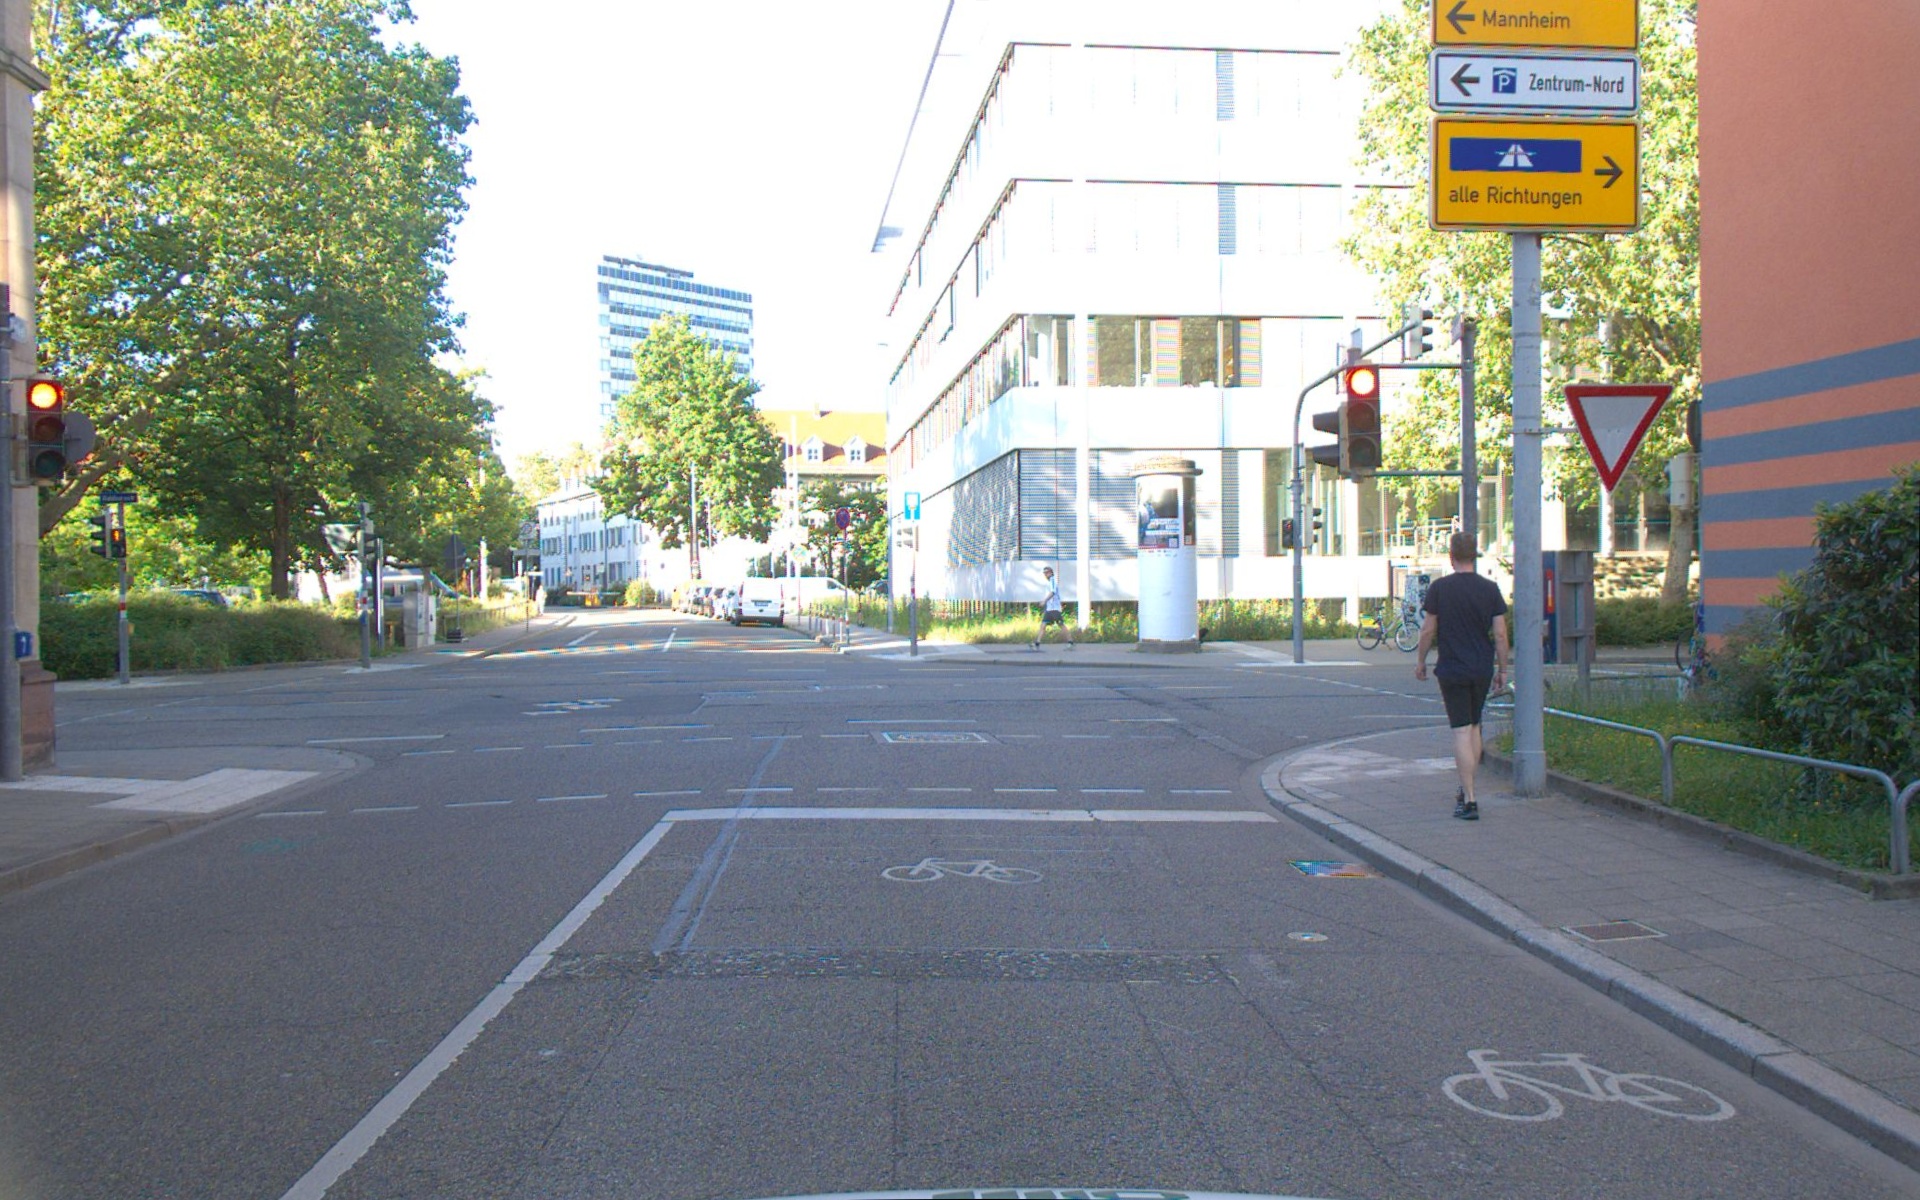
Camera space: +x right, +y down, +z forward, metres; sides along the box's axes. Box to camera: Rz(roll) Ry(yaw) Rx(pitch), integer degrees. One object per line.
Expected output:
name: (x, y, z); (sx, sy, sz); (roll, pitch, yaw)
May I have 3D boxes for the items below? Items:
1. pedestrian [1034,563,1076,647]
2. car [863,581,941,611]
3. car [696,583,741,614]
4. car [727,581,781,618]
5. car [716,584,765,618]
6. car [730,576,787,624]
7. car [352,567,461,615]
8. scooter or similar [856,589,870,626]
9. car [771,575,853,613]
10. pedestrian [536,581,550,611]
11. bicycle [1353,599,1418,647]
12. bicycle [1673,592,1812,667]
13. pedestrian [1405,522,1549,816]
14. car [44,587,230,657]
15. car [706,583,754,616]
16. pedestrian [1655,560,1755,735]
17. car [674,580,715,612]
pedestrian: (2.169, 0.114, 37.851); (0.895, 1.901, 0.742); (1, -1, 0)
car: (-3.670, -0.247, 104.700); (4.563, 1.755, 1.991); (1, 0, -17)
car: (-12.546, -0.058, 85.766); (1.959, 1.525, 4.637); (1, 0, -13)
car: (-8.864, -0.025, 70.878); (1.958, 1.525, 4.639); (1, 0, -11)
car: (-10.190, 0.053, 76.629); (1.958, 1.525, 4.639); (1, 0, -11)
car: (-7.912, 0.011, 64.679); (1.957, 1.755, 4.641); (1, 0, -10)
car: (-24.958, -0.390, 74.659); (4.363, 2.049, 1.995); (1, 0, -10)
scooter or similar: (-3.424, 0.262, 58.212); (0.429, 1.278, 1.418); (-1, 0, -5)
car: (-9.195, -0.360, 102.774); (4.718, 2.196, 1.990); (1, 0, -18)
pedestrian: (-22.700, -0.195, 89.975); (0.688, 1.614, 0.634); (1, -1, -16)
bicycle: (9.327, 0.502, 36.259); (0.376, 1.026, 1.410); (-1, 0, -42)
bicycle: (12.524, 0.466, 26.504); (1.922, 1.172, 0.593); (-1, 0, 5)
pedestrian: (3.357, 0.438, 10.782); (0.685, 1.842, 0.719); (1, -1, -1)
car: (-18.363, 0.488, 37.041); (3.347, 1.483, 1.646); (1, 0, -11)
car: (-11.303, -0.015, 81.060); (1.959, 1.525, 4.272); (1, 0, -13)
pedestrian: (8.082, 0.504, 17.954); (0.710, 1.842, 0.695); (1, -1, -30)
car: (-15.378, -0.219, 95.581); (1.960, 1.755, 4.635); (1, 0, -14)
